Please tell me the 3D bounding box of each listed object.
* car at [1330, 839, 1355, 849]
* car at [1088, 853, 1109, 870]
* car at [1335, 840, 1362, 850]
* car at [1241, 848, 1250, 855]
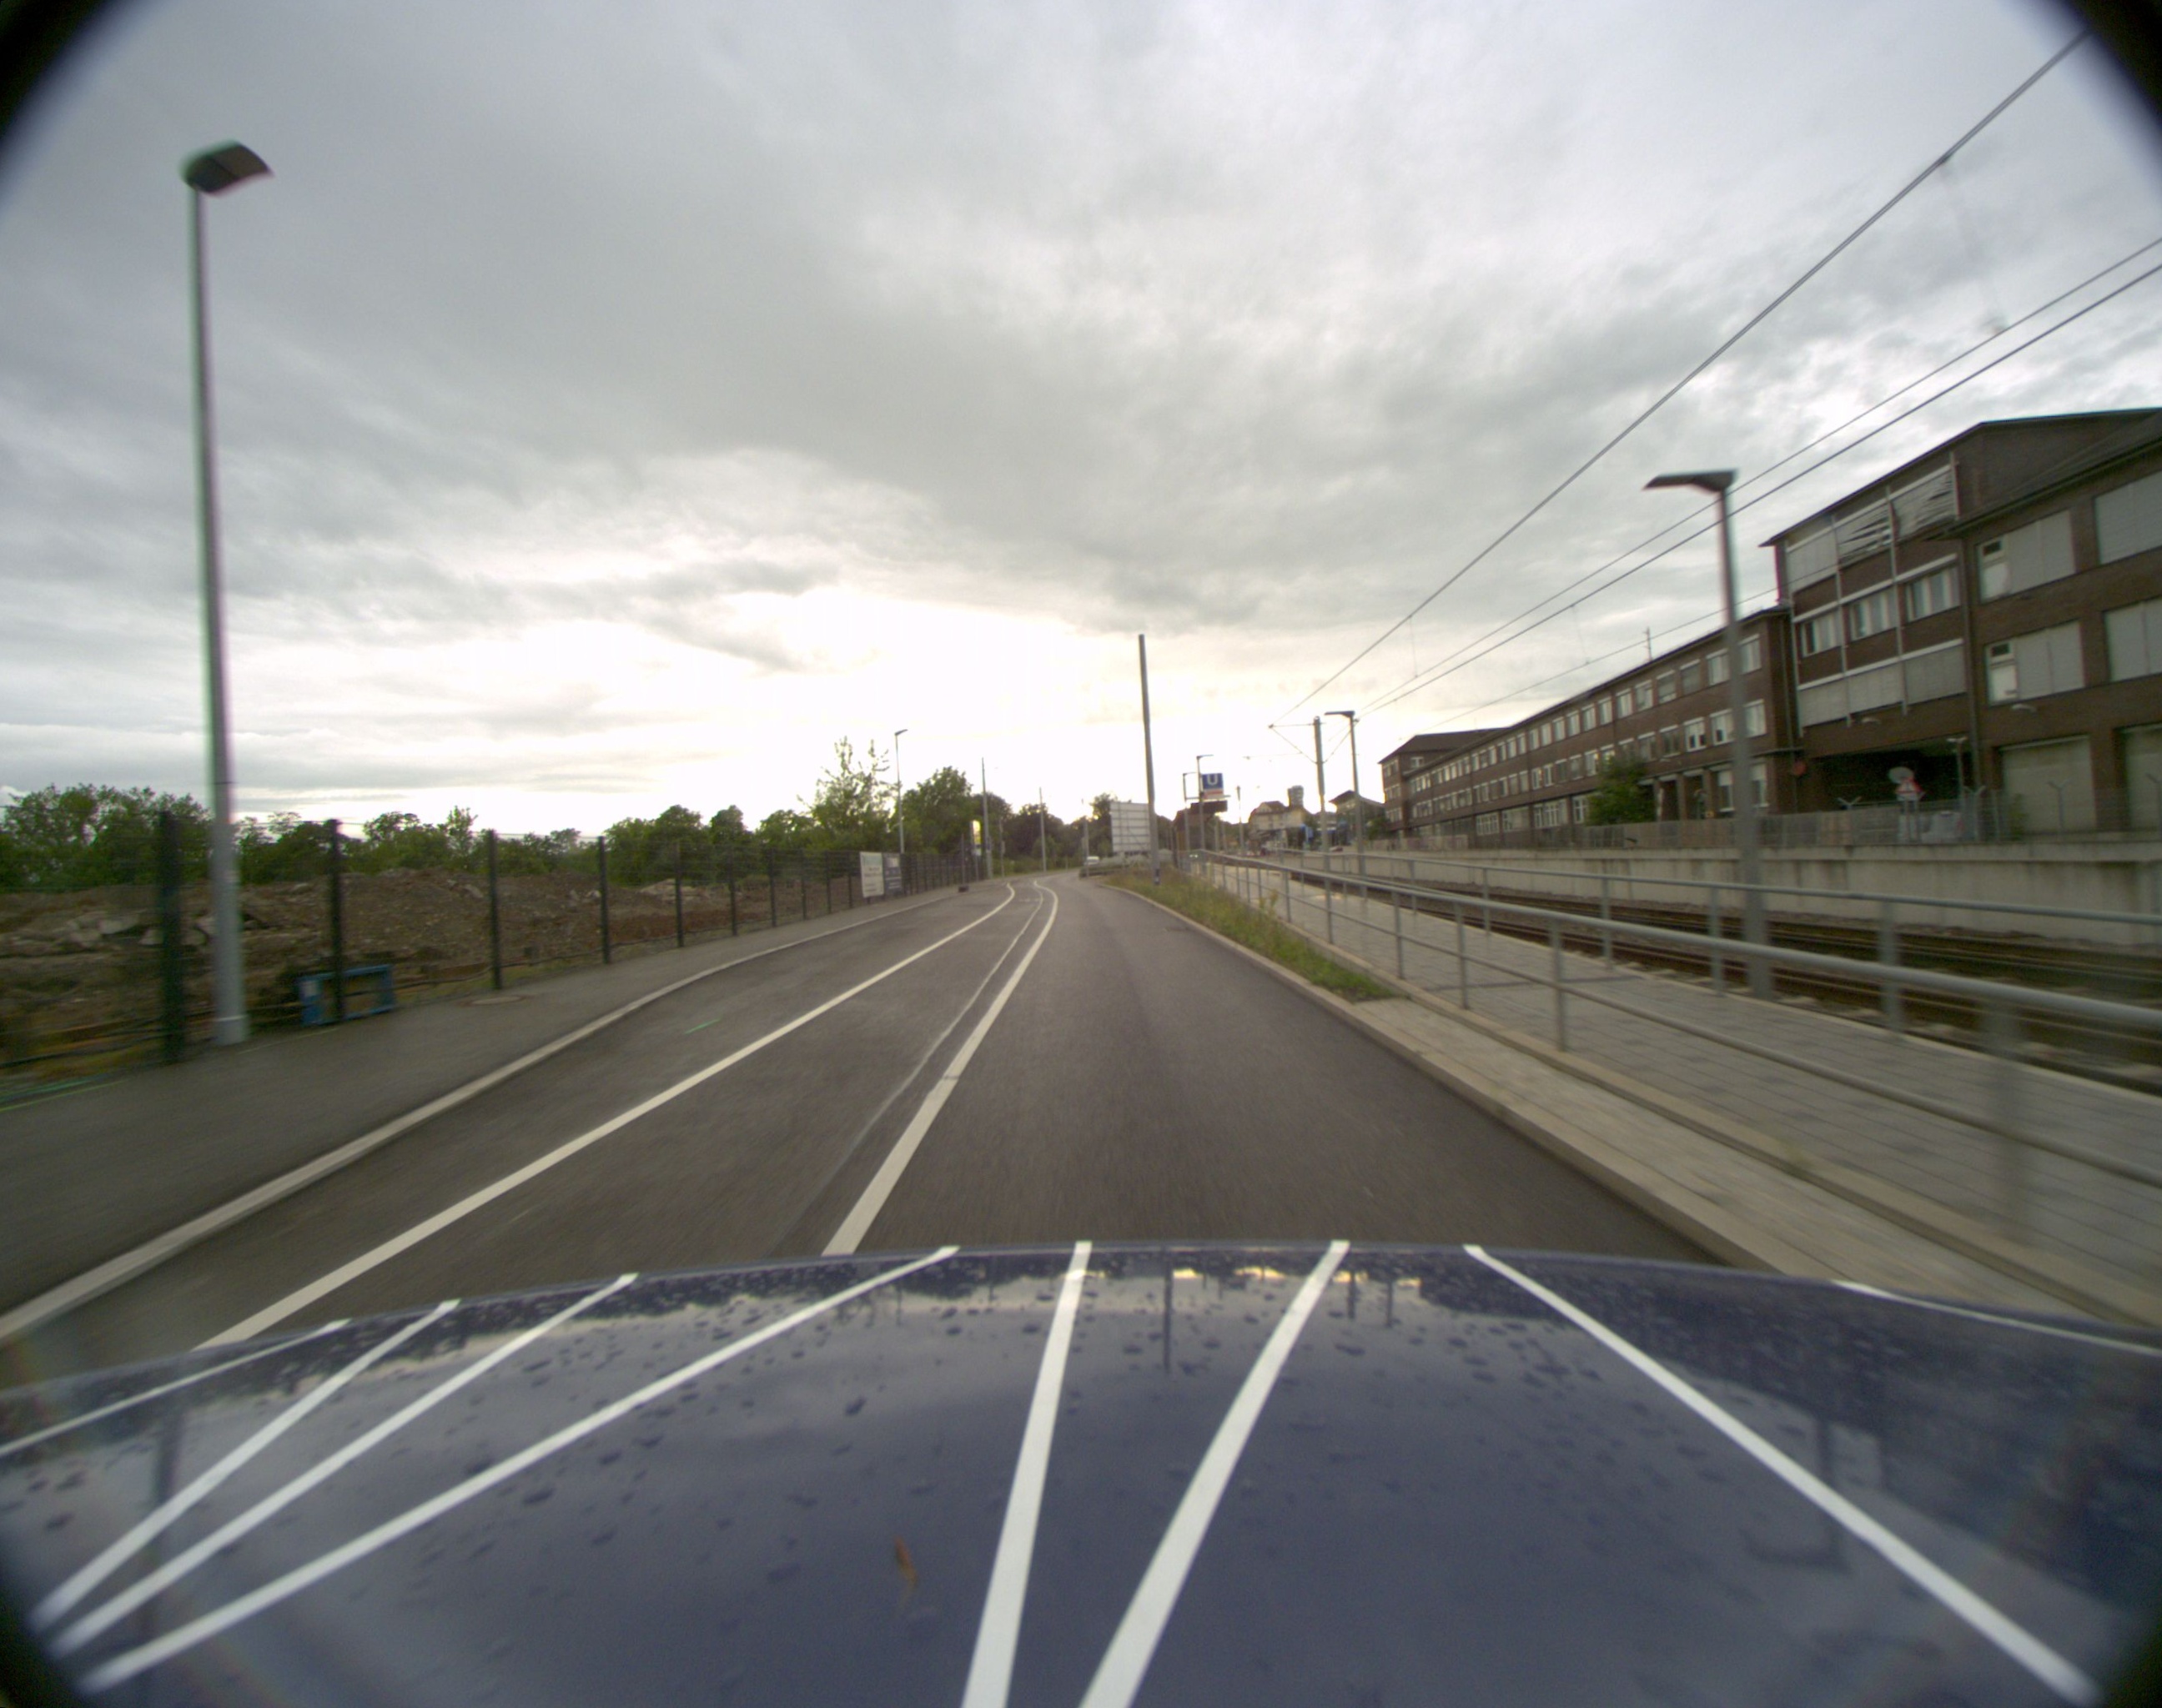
[{"bbox_3d":[52.983,-1.976,154.008,4.573,1.750,2.001,-3,0,9],"label":"car"},{"bbox_3d":[2.244,0.990,96.269,1.997,2.002,4.003,-1,1,11],"label":"car"},{"bbox_3d":[52.932,-1.780,150.359,4.573,1.750,2.001,-3,0,9],"label":"car"},{"bbox_3d":[48.955,-0.724,226.230,1.998,2.002,4.002,-2,0,6],"label":"car"}]
